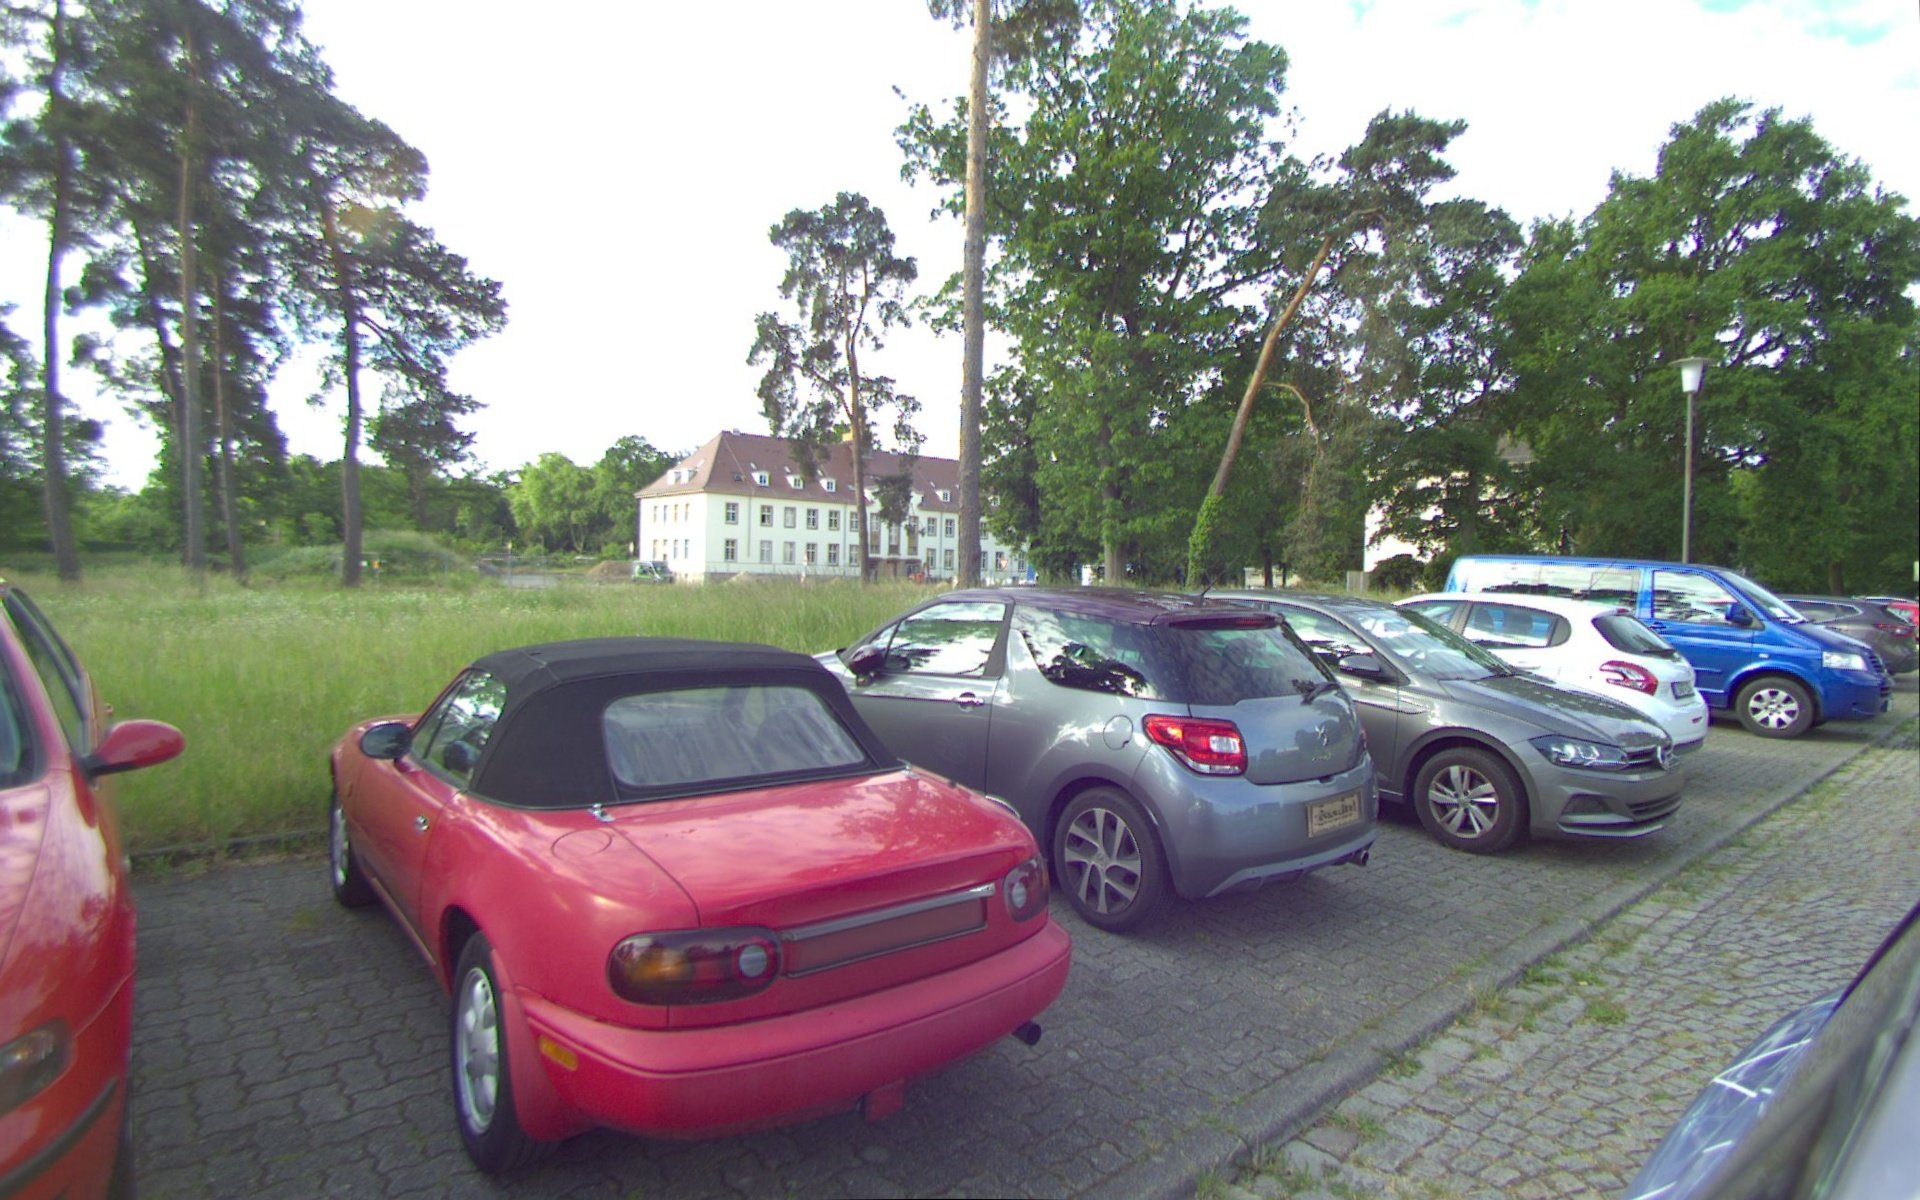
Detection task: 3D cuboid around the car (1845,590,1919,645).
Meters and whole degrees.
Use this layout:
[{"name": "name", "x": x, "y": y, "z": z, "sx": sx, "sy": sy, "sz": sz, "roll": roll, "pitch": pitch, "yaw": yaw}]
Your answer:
[{"name": "car", "x": 30.626, "y": 0.577, "z": 31.911, "sx": 1.551, "sy": 1.638, "sz": 3.841, "roll": 0, "pitch": 2, "yaw": -36}]

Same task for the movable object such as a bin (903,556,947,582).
[{"name": "movable object such as a bin", "x": -3.987, "y": -3.538, "z": 115.965, "sx": 1.994, "sy": 2.802, "sz": 5.121, "roll": 2, "pitch": 2, "yaw": 44}]

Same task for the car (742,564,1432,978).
[{"name": "car", "x": 0.401, "y": 0.591, "z": 5.778, "sx": 1.576, "sy": 1.522, "sz": 3.836, "roll": 0, "pitch": 2, "yaw": -41}]

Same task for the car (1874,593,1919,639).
[{"name": "car", "x": 34.239, "y": 0.603, "z": 34.849, "sx": 1.642, "sy": 1.548, "sz": 3.841, "roll": 0, "pitch": 2, "yaw": -36}]

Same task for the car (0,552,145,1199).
[{"name": "car", "x": -3.193, "y": 0.596, "z": 2.571, "sx": 1.689, "sy": 1.440, "sz": 4.117, "roll": -2, "pitch": 3, "yaw": -40}]

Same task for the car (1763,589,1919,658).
[{"name": "car", "x": 22.725, "y": 0.563, "z": 25.411, "sx": 1.555, "sy": 1.544, "sz": 3.832, "roll": 0, "pitch": 2, "yaw": -44}]

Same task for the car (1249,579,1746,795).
[{"name": "car", "x": 4.755, "y": 0.612, "z": 9.410, "sx": 1.552, "sy": 1.517, "sz": 3.762, "roll": 0, "pitch": 2, "yaw": -39}]

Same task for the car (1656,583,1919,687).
[{"name": "car", "x": 15.207, "y": 0.562, "z": 18.507, "sx": 1.555, "sy": 1.621, "sz": 3.832, "roll": 0, "pitch": 2, "yaw": -44}]

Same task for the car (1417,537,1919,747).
[{"name": "car", "x": 8.806, "y": 0.313, "z": 12.928, "sx": 2.023, "sy": 2.047, "sz": 4.955, "roll": 0, "pitch": 4, "yaw": -39}]

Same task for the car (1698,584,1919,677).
[{"name": "car", "x": 17.312, "y": 0.553, "z": 20.464, "sx": 1.555, "sy": 1.621, "sz": 3.627, "roll": 0, "pitch": 2, "yaw": -44}]

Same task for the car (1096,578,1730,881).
[{"name": "car", "x": 2.910, "y": 0.635, "z": 7.194, "sx": 1.613, "sy": 1.483, "sz": 3.782, "roll": 0, "pitch": 2, "yaw": -39}]

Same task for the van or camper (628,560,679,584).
[{"name": "van or camper", "x": -29.959, "y": -2.738, "z": 98.726, "sx": 6.063, "sy": 2.250, "sz": 1.969, "roll": 3, "pitch": 2, "yaw": 43}]

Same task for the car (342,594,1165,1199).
[{"name": "car", "x": -1.137, "y": 0.702, "z": 3.773, "sx": 1.579, "sy": 1.302, "sz": 3.556, "roll": -1, "pitch": 3, "yaw": -38}]
